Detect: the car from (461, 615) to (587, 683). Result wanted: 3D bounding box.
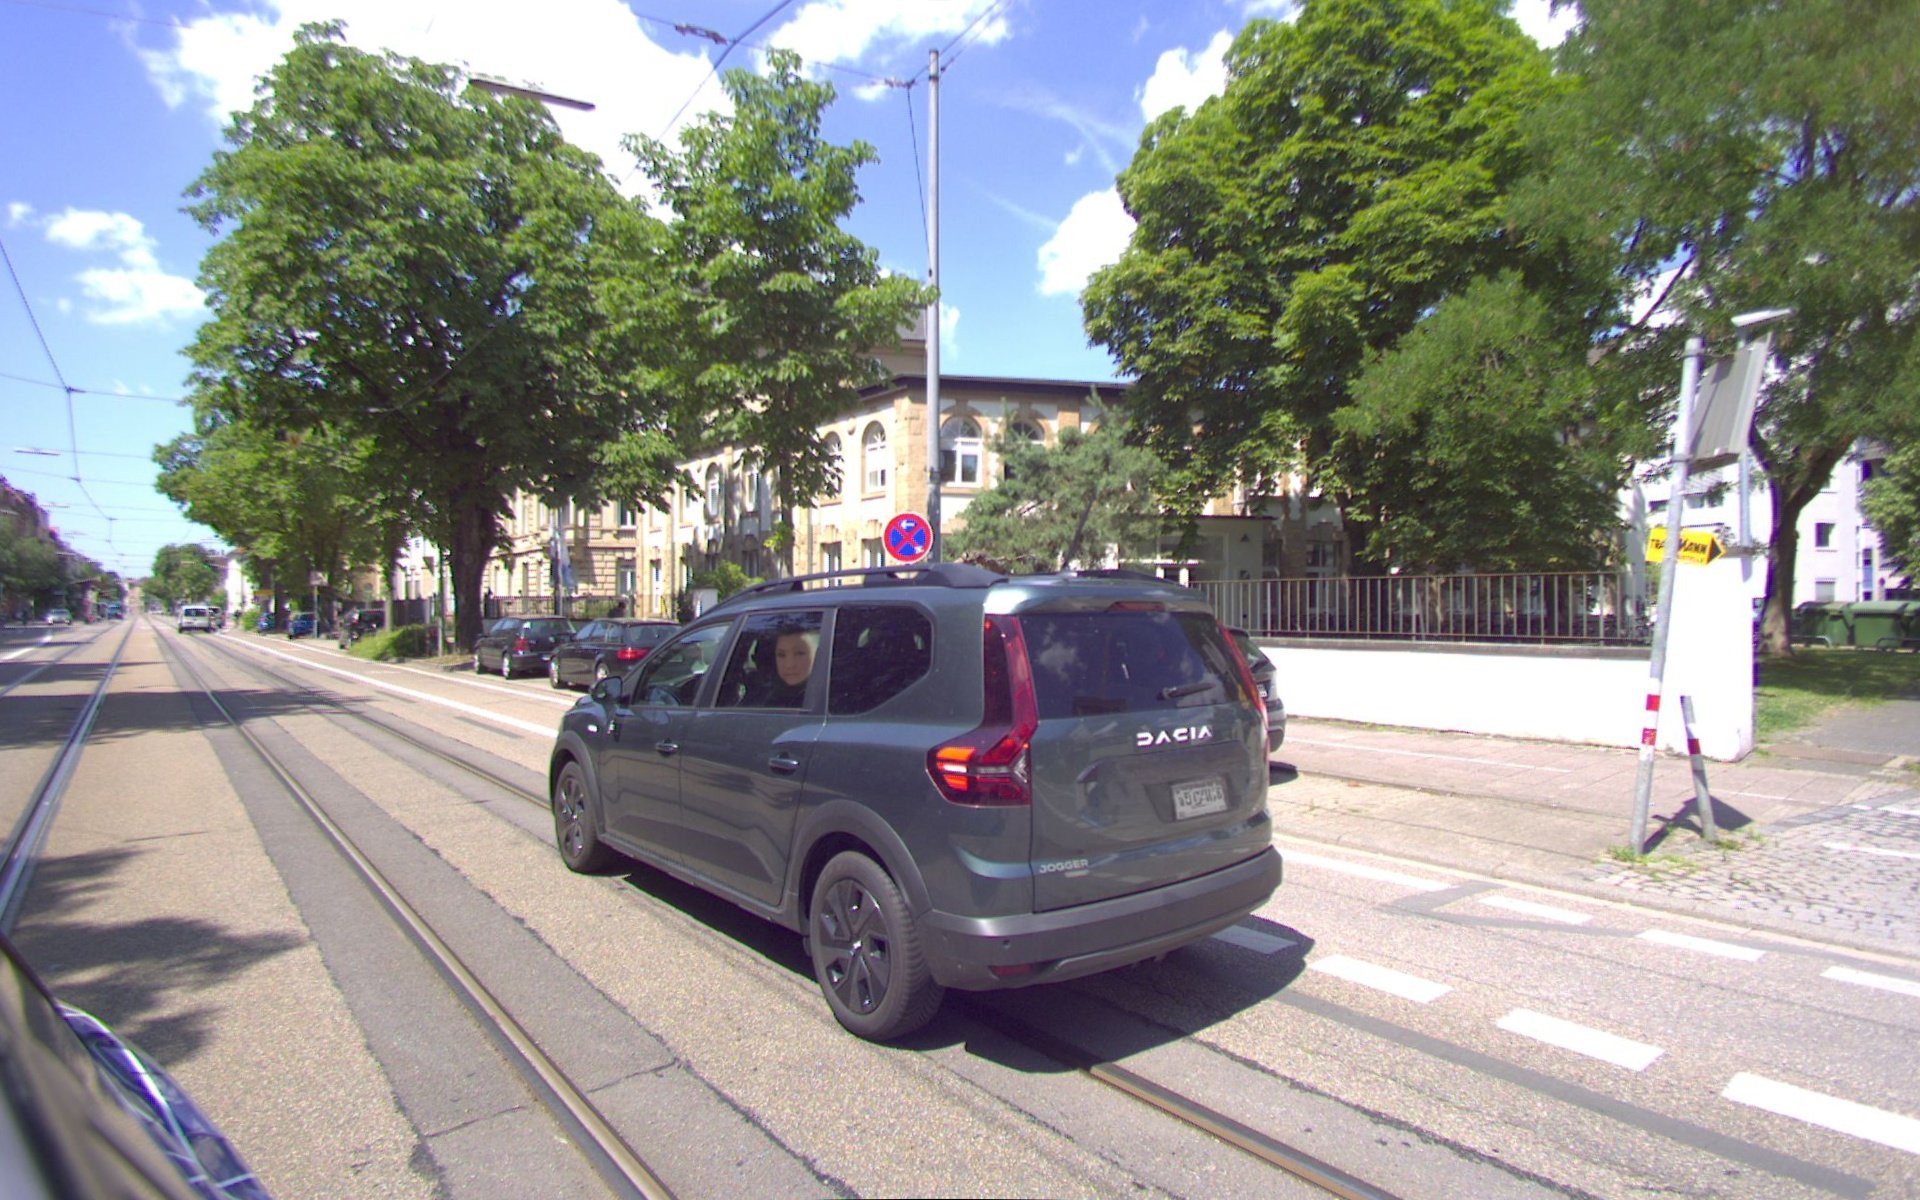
[{"bbox_3d":[-10.521,1.107,24.295,1.921,1.454,3.781,-1,0,-37],"label":"car"}]

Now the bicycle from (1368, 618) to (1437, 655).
[{"bbox_3d":[13.249,1.070,30.401,0.597,1.019,2.266,0,0,-15],"label":"bicycle"}]

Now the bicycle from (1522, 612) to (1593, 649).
[{"bbox_3d":[18.764,0.949,31.839,0.597,1.090,2.264,0,0,-10],"label":"bicycle"}]

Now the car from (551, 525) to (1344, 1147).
[{"bbox_3d":[-0.465,0.680,4.780,1.581,1.664,4.007,1,-2,-39],"label":"car"}]

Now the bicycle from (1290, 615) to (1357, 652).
[{"bbox_3d":[10.759,0.985,30.005,0.560,1.019,2.267,0,0,-19],"label":"bicycle"}]

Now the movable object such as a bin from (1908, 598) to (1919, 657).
[{"bbox_3d":[24.956,0.683,25.384,1.077,1.490,1.365,0,0,-22],"label":"movable object such as a bin"}]

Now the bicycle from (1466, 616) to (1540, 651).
[{"bbox_3d":[16.775,1.016,31.333,0.597,1.019,2.266,0,0,-15],"label":"bicycle"}]

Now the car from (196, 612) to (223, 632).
[{"bbox_3d":[-66.479,1.927,89.628,1.736,1.732,4.008,0,-1,-39],"label":"car"}]

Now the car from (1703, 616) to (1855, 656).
[{"bbox_3d":[30.145,1.303,37.301,4.550,1.362,1.838,0,0,-11],"label":"car"}]

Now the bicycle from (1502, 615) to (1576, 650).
[{"bbox_3d":[18.050,0.997,31.614,0.597,1.019,2.266,0,0,-15],"label":"bicycle"}]

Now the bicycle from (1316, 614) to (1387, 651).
[{"bbox_3d":[11.498,0.927,29.803,0.597,1.019,2.267,0,0,-19],"label":"bicycle"}]

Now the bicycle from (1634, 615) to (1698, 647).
[{"bbox_3d":[22.431,0.971,32.191,0.604,0.965,1.733,0,0,-10],"label":"bicycle"}]

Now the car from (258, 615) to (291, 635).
[{"bbox_3d":[-52.025,1.880,76.779,1.808,1.497,4.008,0,-1,-38],"label":"car"}]

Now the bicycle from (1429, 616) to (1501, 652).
[{"bbox_3d":[15.431,1.010,30.990,0.597,1.019,2.266,0,0,-15],"label":"bicycle"}]

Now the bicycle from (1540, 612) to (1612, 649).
[{"bbox_3d":[19.393,0.937,31.919,0.597,1.090,2.264,0,0,-10],"label":"bicycle"}]

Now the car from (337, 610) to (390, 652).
[{"bbox_3d":[-24.558,1.230,41.628,1.701,1.626,4.011,-1,0,-33],"label":"car"}]

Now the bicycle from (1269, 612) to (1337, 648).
[{"bbox_3d":[10.121,0.863,29.929,0.621,1.019,2.267,0,0,-20],"label":"bicycle"}]

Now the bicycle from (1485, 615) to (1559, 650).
[{"bbox_3d":[17.428,1.001,31.443,0.597,1.019,2.266,0,0,-15],"label":"bicycle"}]

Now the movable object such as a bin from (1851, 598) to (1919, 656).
[{"bbox_3d":[24.655,0.687,26.752,1.030,1.490,1.265,0,0,-11],"label":"movable object such as a bin"}]

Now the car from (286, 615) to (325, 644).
[{"bbox_3d":[-36.546,1.596,56.510,1.782,1.490,4.011,-1,0,-33],"label":"car"}]

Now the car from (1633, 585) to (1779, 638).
[{"bbox_3d":[29.653,0.476,40.265,4.696,2.029,2.005,0,-1,-11],"label":"car"}]

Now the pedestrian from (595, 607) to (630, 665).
[{"bbox_3d":[-9.688,0.982,28.234,0.686,1.579,0.745,0,-1,-41],"label":"pedestrian"}]

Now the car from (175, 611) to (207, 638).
[{"bbox_3d":[-51.363,1.643,67.558,1.651,1.732,4.008,0,-1,-39],"label":"car"}]

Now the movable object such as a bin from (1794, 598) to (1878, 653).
[{"bbox_3d":[24.404,0.690,28.227,1.030,1.490,1.413,0,0,-11],"label":"movable object such as a bin"}]

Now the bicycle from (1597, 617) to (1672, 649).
[{"bbox_3d":[21.469,1.031,32.285,0.597,0.965,2.264,0,0,-10],"label":"bicycle"}]

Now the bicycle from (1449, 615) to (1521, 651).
[{"bbox_3d":[16.149,0.997,31.200,0.597,1.019,2.266,0,0,-15],"label":"bicycle"}]

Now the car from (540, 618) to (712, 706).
[{"bbox_3d":[-6.446,1.081,19.254,1.854,1.429,4.160,-1,0,-37],"label":"car"}]

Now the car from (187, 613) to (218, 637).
[{"bbox_3d":[-55.011,1.786,73.473,1.736,1.732,4.008,0,-1,-39],"label":"car"}]
